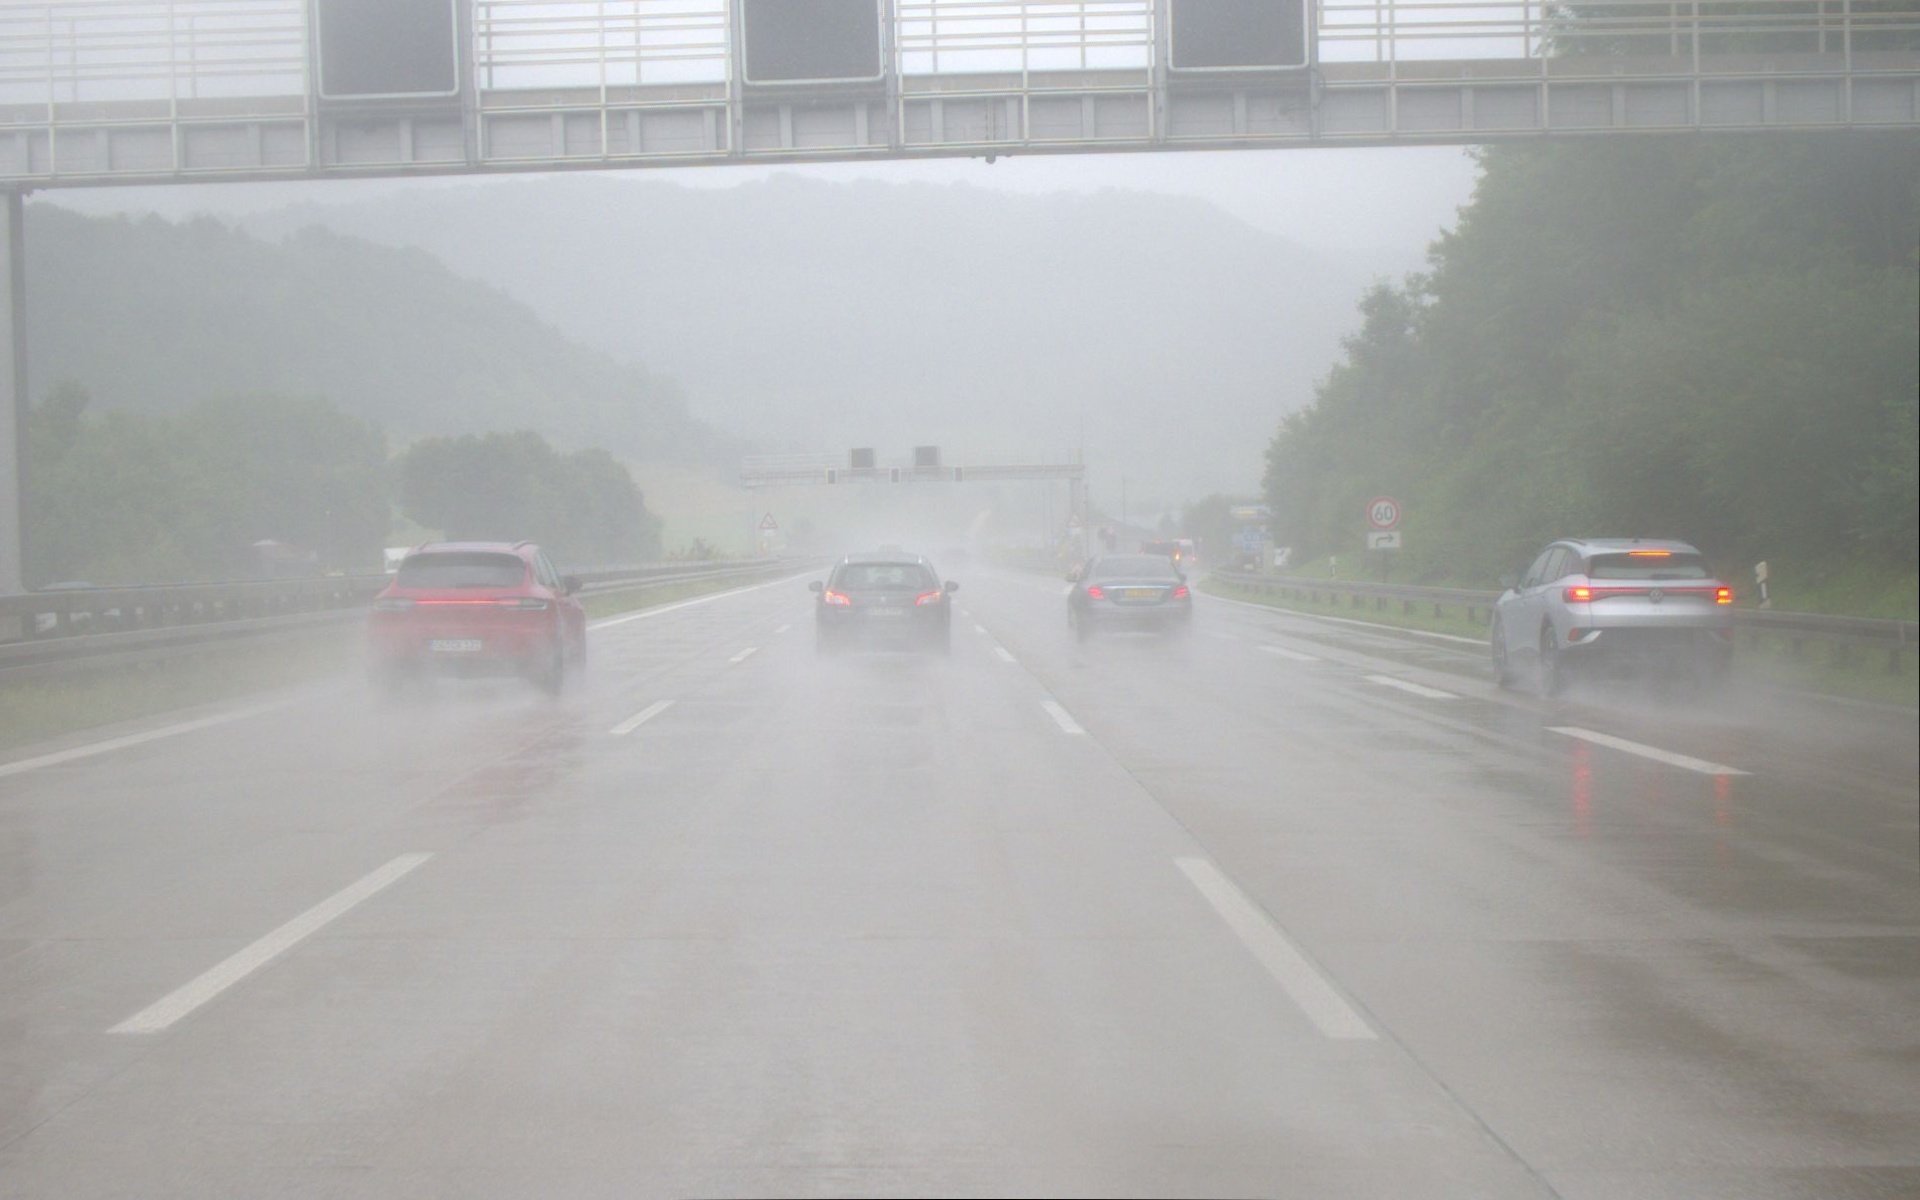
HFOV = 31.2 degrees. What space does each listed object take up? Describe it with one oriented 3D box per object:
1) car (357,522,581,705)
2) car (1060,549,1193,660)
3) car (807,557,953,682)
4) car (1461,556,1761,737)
[{"bbox_3d":[-5.090,0.098,36.078,1.884,1.809,4.000,0,1,-2],"label":"car"},{"bbox_3d":[2.728,0.041,57.136,1.971,1.754,4.000,0,1,-1],"label":"car"},{"bbox_3d":[-1.053,0.232,46.190,1.859,1.584,4.000,1,1,-1],"label":"car"},{"bbox_3d":[6.741,0.423,36.243,1.993,1.744,5.663,1,1,-1],"label":"car"}]
